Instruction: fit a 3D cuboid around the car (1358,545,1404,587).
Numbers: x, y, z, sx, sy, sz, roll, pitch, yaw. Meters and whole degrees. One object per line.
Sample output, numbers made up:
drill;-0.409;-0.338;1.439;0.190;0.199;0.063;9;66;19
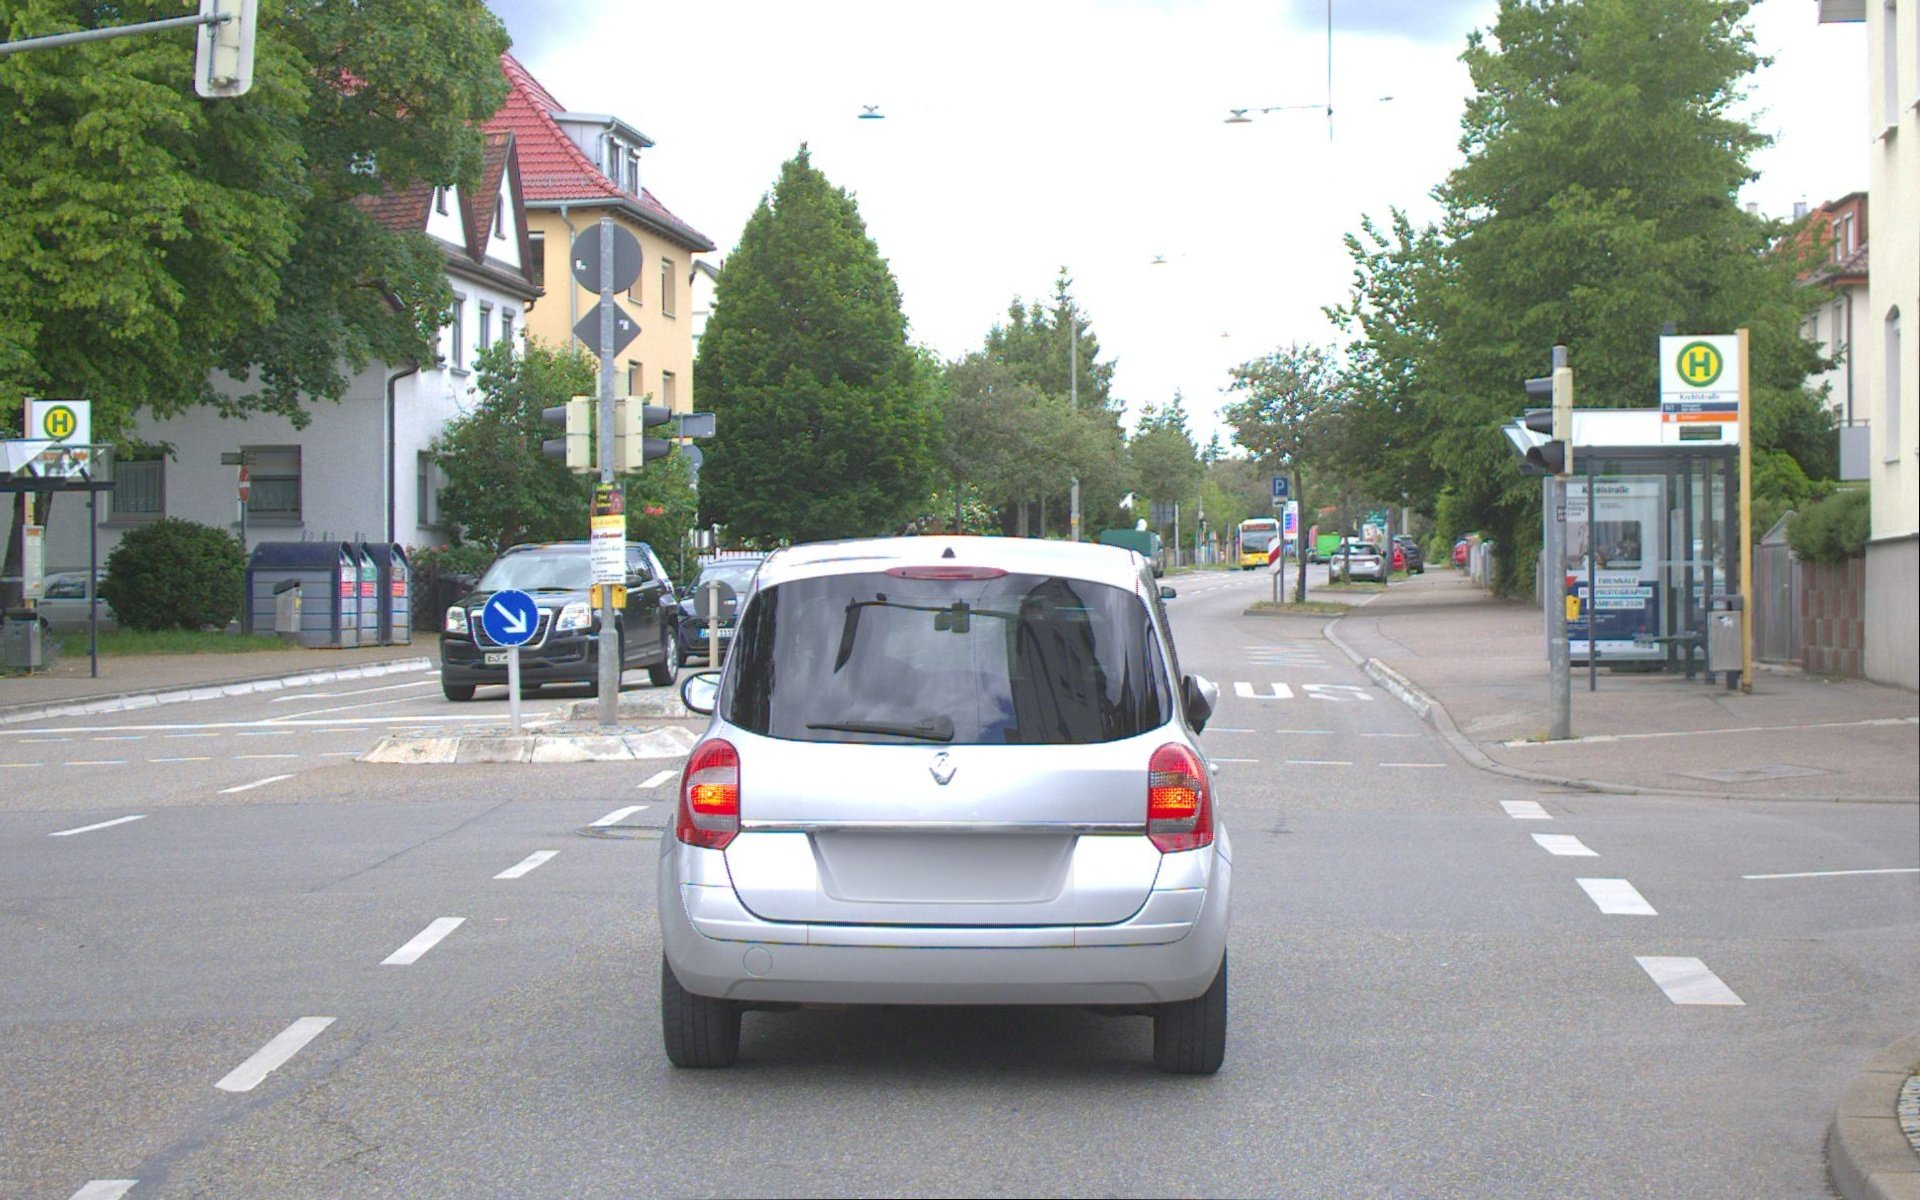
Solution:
car;16.089;-1.312;131.632;1.663;1.559;4.098;0;1;6

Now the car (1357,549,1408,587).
car;15.650;-1.197;127.243;1.663;1.388;3.666;0;1;10

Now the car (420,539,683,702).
car;-4.422;0.230;37.916;1.758;1.629;4.593;-2;-1;7

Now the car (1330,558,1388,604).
car;12.608;-0.585;108.504;1.650;1.378;3.998;0;0;9

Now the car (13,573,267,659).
car;-14.482;0.286;60.826;3.988;1.327;1.722;-2;-1;6

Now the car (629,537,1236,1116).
car;-0.067;0.624;11.408;1.630;1.551;4.000;1;0;0

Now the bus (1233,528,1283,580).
bus;18.834;-2.905;216.755;2.633;3.075;12.066;-2;1;7

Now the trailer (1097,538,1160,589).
trailer;7.361;-1.572;149.467;2.312;2.079;5.871;1;0;7

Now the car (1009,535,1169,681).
car;1.534;0.086;41.445;1.829;1.670;3.574;0;0;2

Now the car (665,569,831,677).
car;-2.882;0.318;47.528;1.564;1.415;4.129;0;0;7
